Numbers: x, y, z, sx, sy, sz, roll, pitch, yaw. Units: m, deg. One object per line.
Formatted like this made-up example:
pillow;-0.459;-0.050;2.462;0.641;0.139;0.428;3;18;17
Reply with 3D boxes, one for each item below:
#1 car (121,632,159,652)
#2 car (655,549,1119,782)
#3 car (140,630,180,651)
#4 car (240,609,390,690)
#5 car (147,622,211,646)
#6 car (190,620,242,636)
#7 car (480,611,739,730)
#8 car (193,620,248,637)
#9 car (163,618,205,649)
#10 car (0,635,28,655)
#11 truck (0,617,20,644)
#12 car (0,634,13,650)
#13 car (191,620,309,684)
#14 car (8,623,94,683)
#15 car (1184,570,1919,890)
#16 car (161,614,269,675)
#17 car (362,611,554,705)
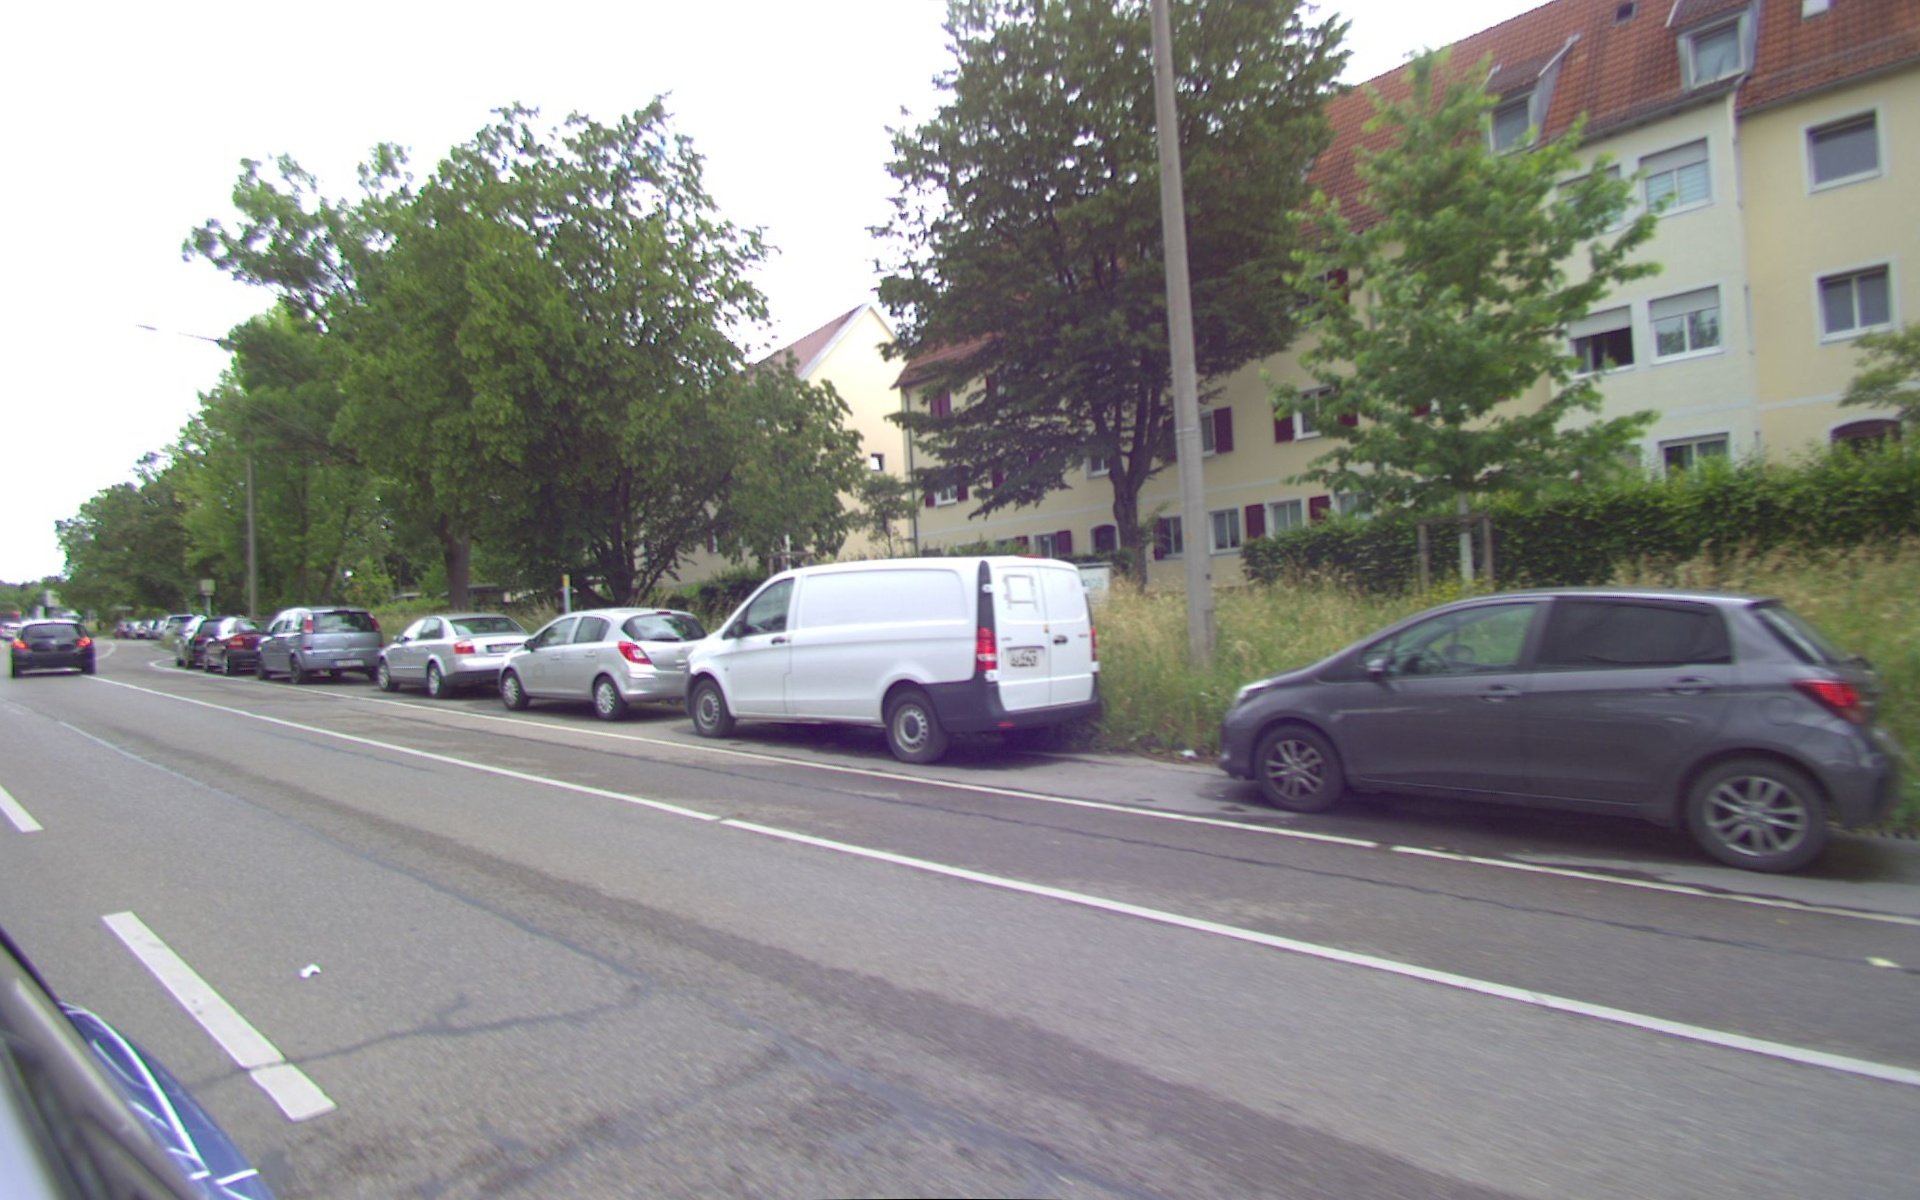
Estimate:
car;-67.016;3.401;82.694;4.057;1.518;1.855;-2;0;43
car;-1.009;0.596;10.776;5.152;1.945;1.750;-2;0;41
car;-62.307;3.184;78.782;4.000;1.518;1.855;-3;0;43
car;-14.343;1.063;22.420;4.133;1.604;1.749;-2;-1;42
car;-53.212;2.316;68.969;3.977;1.518;1.865;-2;-1;25
car;-97.738;3.621;133.024;1.740;2.029;5.225;-1;-2;44
car;-5.111;0.948;14.549;3.944;1.444;1.619;-2;0;38
car;-92.620;3.578;126.809;2.012;2.029;5.226;-1;-2;43
car;-46.160;1.951;60.158;1.851;1.679;4.399;-2;1;-39
car;-87.234;4.120;93.275;1.853;1.582;4.342;-2;1;-44
truck;-128.861;4.187;136.612;2.791;3.507;7.832;-1;-1;-42
car;-107.778;4.733;113.655;4.407;1.783;1.808;-2;0;43
car;-18.241;1.299;25.931;4.151;1.458;1.748;-2;-1;45
car;-24.383;1.355;27.155;1.617;1.478;4.004;0;-1;-42
car;3.682;0.650;6.630;4.044;1.499;1.655;-1;-2;43
car;-21.626;1.237;29.296;1.854;1.582;4.653;-2;0;-44
car;-9.174;0.992;18.319;4.357;1.507;1.748;-2;-2;44
